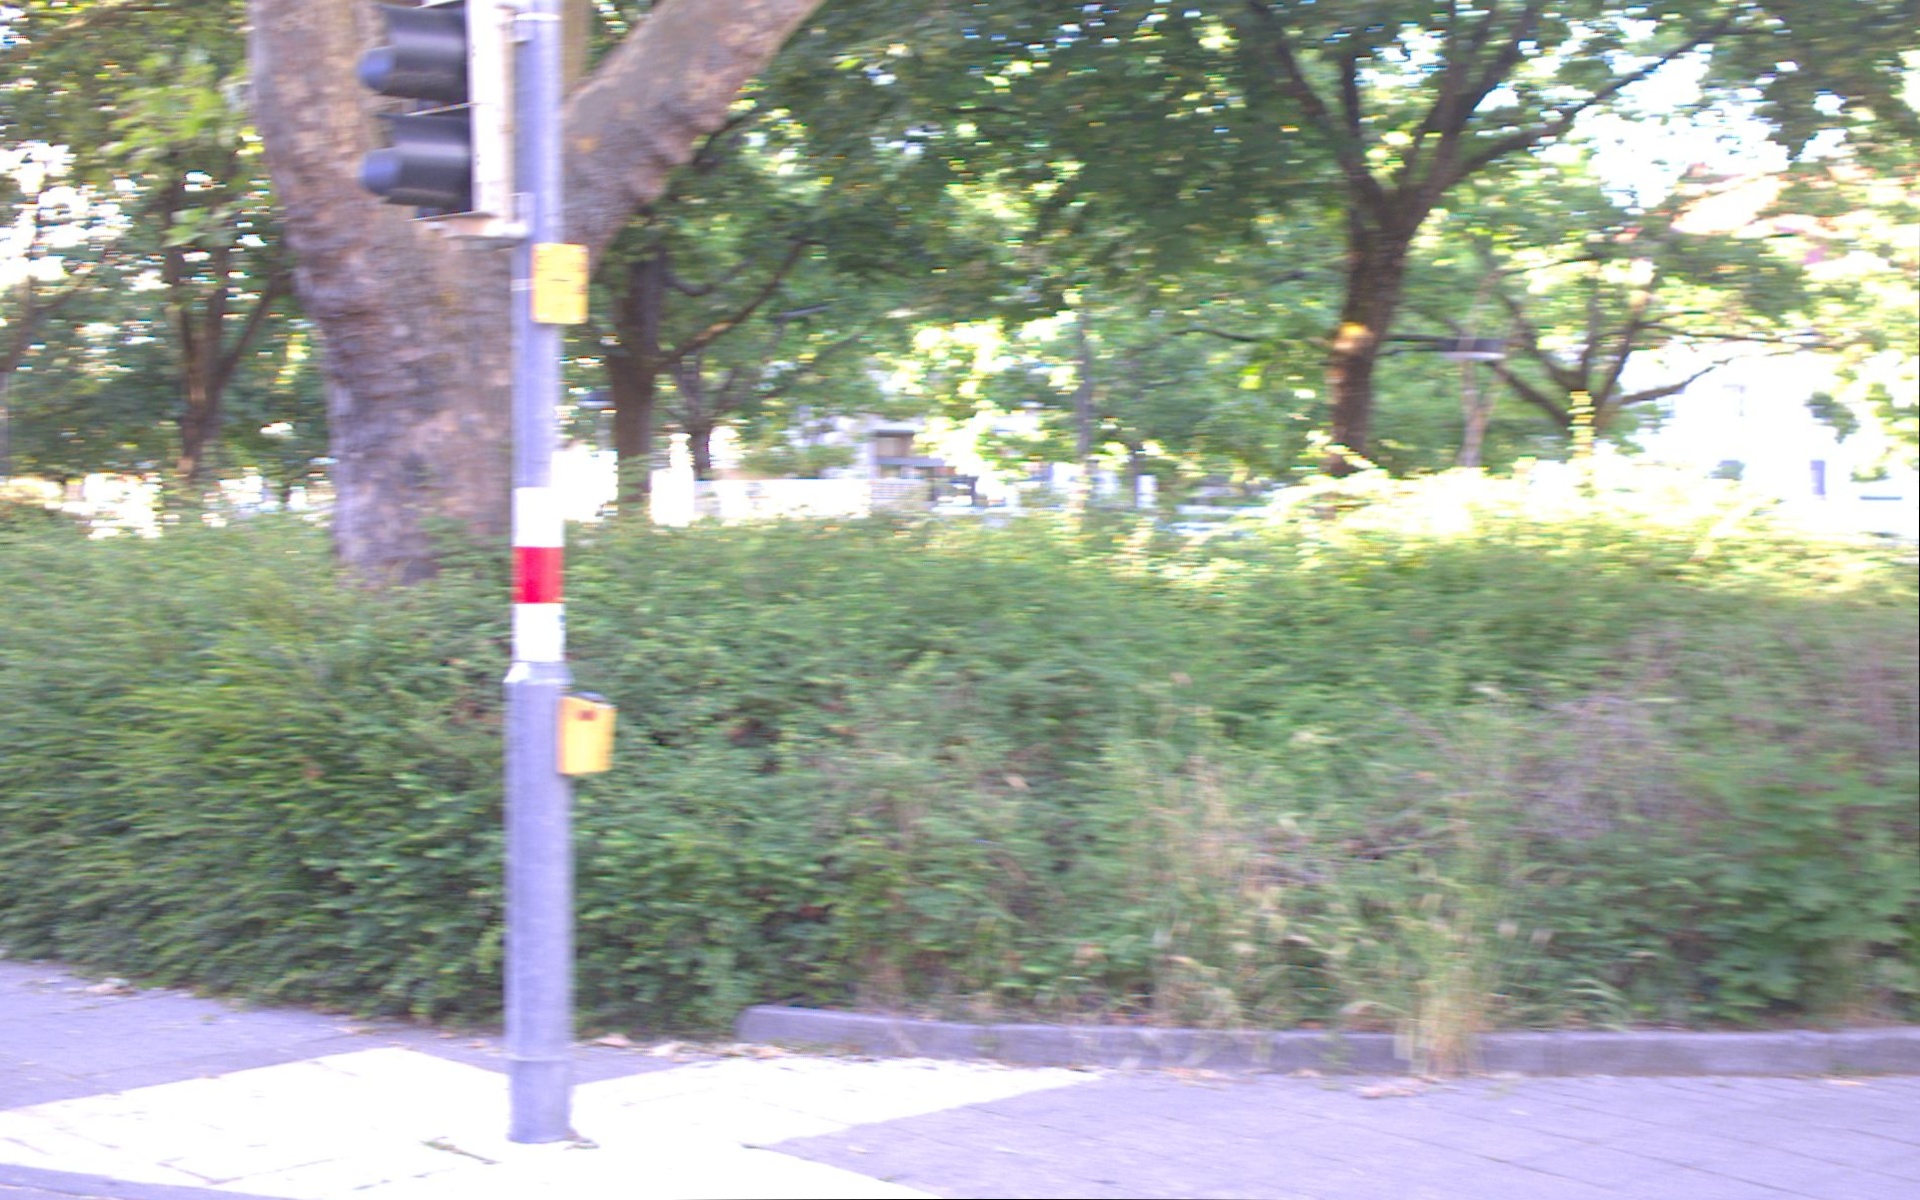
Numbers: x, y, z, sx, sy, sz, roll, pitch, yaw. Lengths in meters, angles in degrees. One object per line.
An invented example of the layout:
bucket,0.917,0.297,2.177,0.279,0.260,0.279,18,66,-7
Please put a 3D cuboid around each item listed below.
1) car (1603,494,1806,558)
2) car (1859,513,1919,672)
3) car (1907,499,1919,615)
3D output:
car,18.355,-1.838,84.893,2.008,1.470,4.656,1,1,-38
car,12.474,-0.059,38.679,1.782,1.805,4.310,-1,2,-40
car,15.257,-0.531,47.110,1.918,1.620,3.999,1,1,-38
